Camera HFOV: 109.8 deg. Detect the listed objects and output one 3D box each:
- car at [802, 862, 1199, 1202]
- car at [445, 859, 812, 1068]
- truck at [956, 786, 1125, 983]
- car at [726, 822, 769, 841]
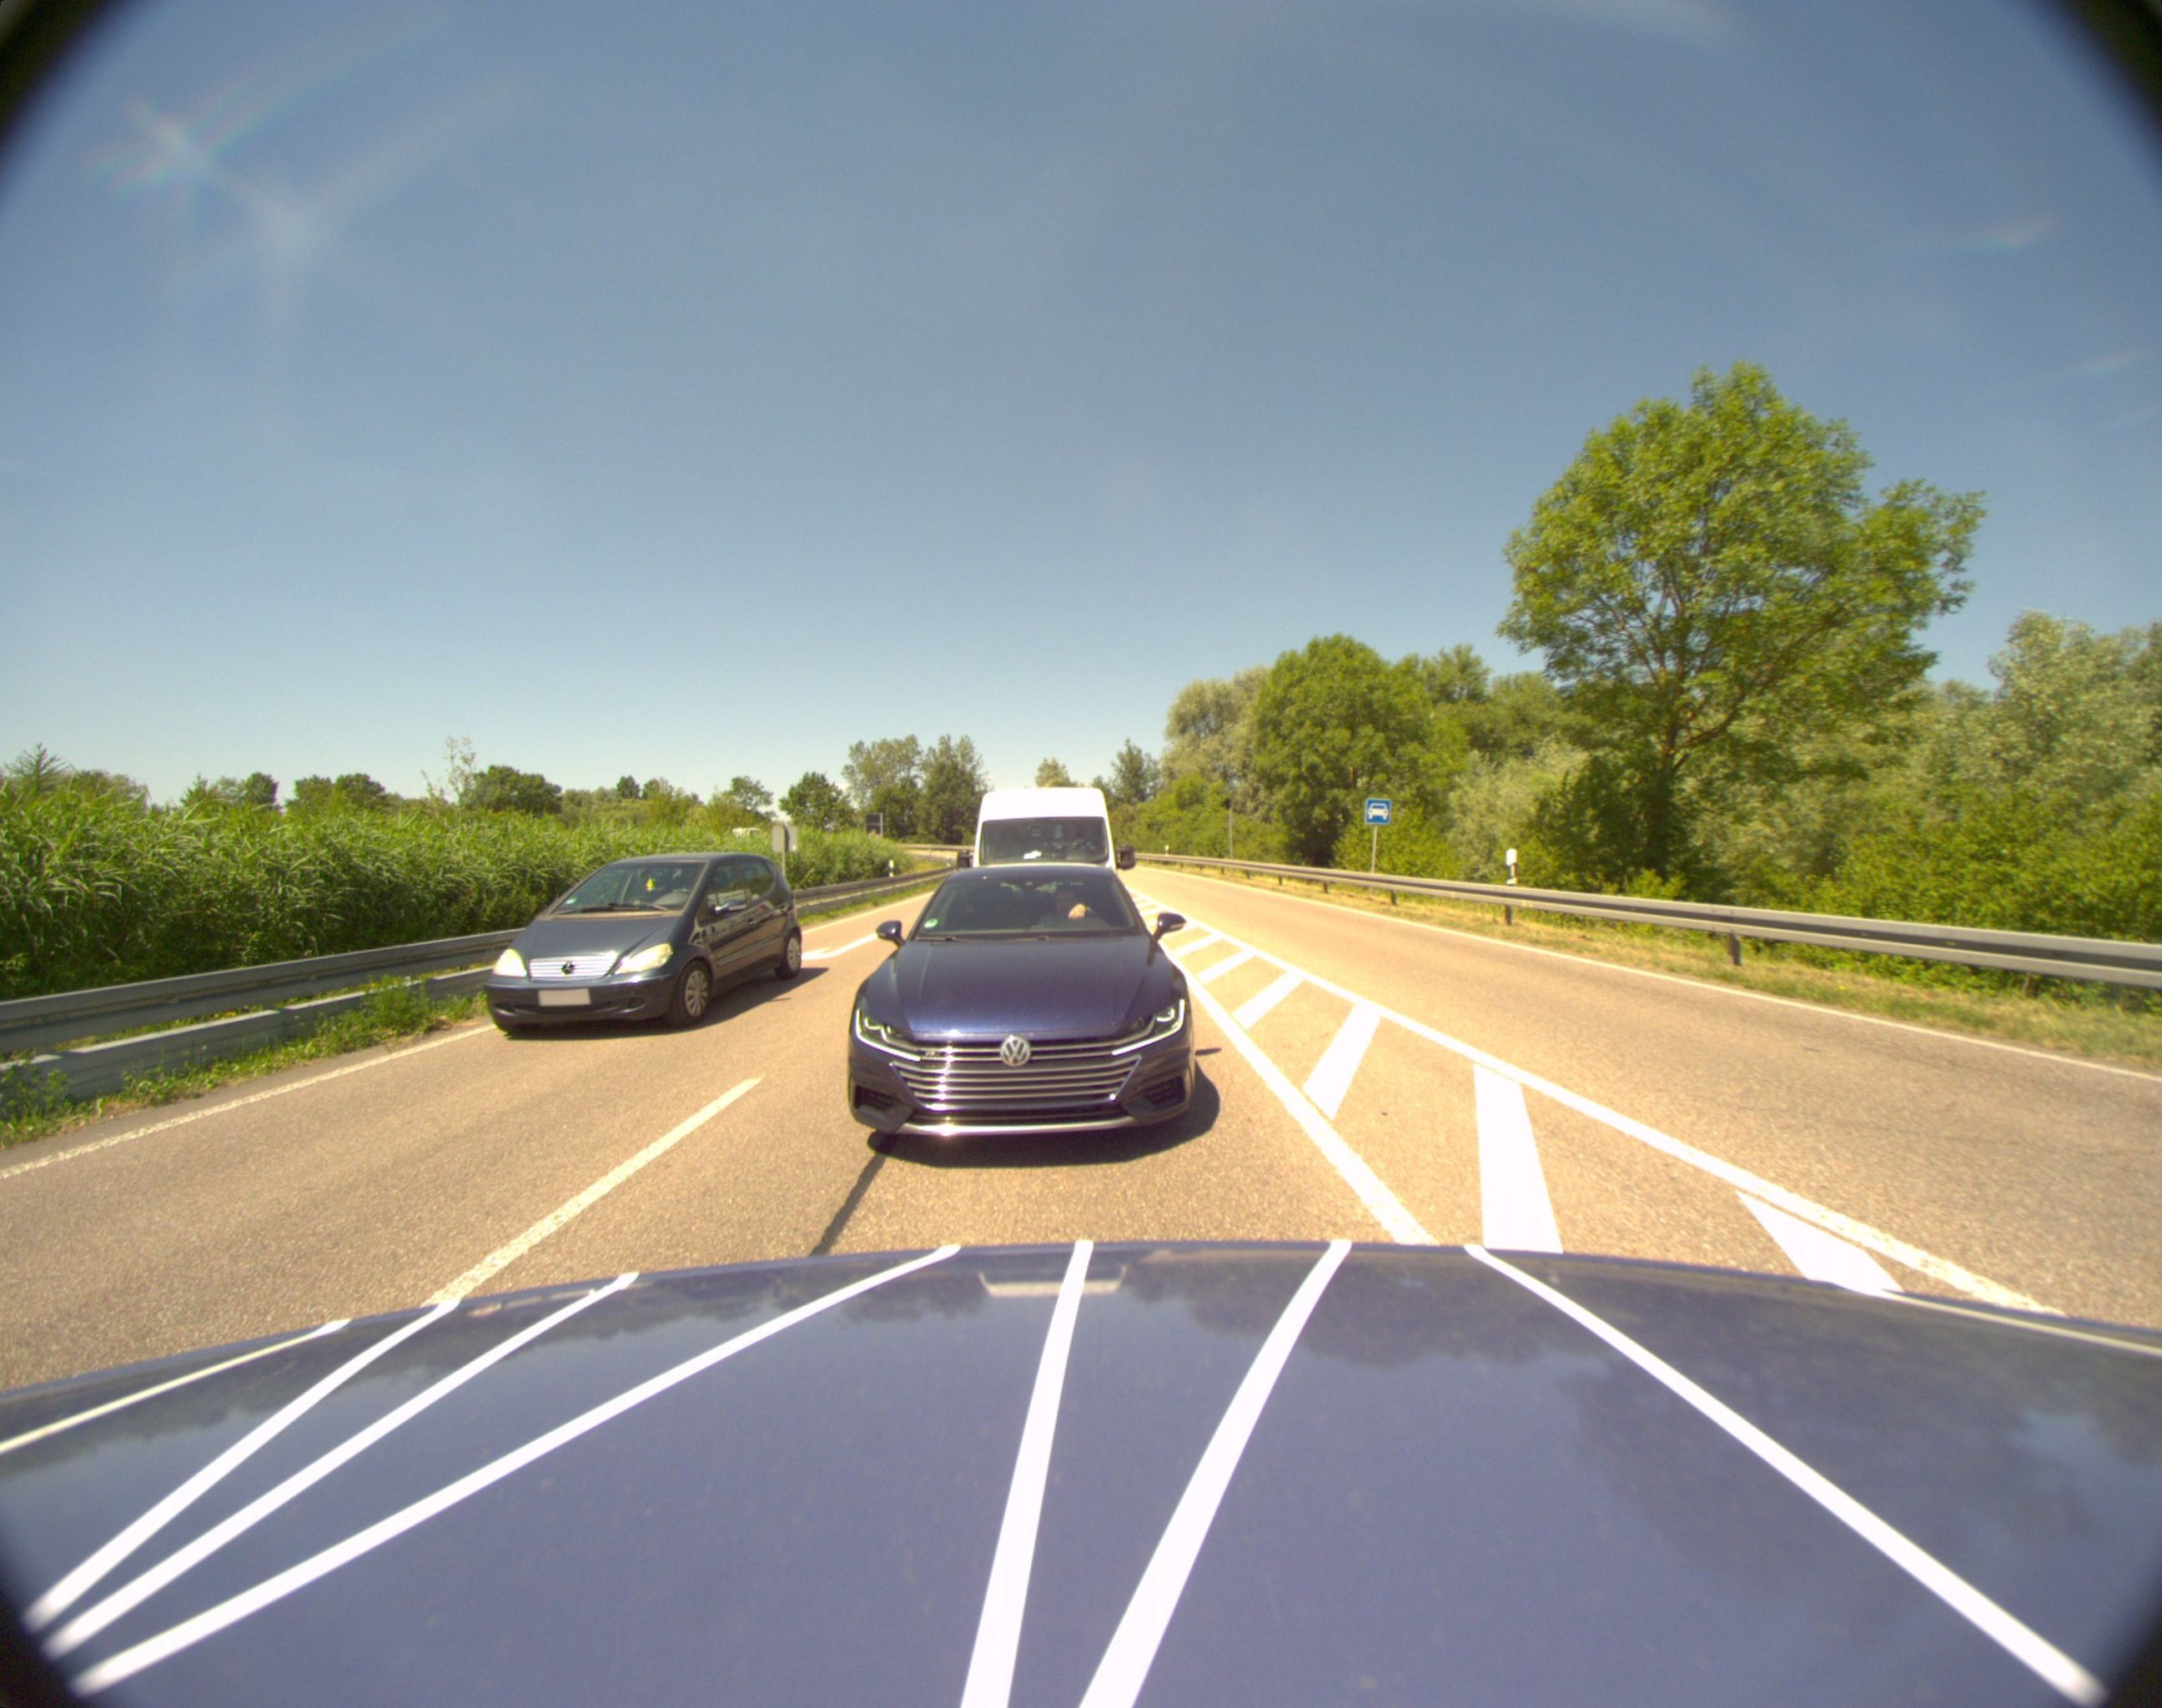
[{"bbox_3d":[-0.349,0.864,5.771,1.819,1.454,4.415,-2,1,1],"label":"car"},{"bbox_3d":[-4.336,0.911,8.003,1.672,1.591,3.553,-2,1,0],"label":"car"},{"bbox_3d":[-0.672,0.338,12.305,2.011,2.365,5.909,-2,1,-4],"label":"truck"},{"bbox_3d":[-44.868,-3.015,102.266,5.575,2.404,2.002,1,6,25],"label":"car"}]
